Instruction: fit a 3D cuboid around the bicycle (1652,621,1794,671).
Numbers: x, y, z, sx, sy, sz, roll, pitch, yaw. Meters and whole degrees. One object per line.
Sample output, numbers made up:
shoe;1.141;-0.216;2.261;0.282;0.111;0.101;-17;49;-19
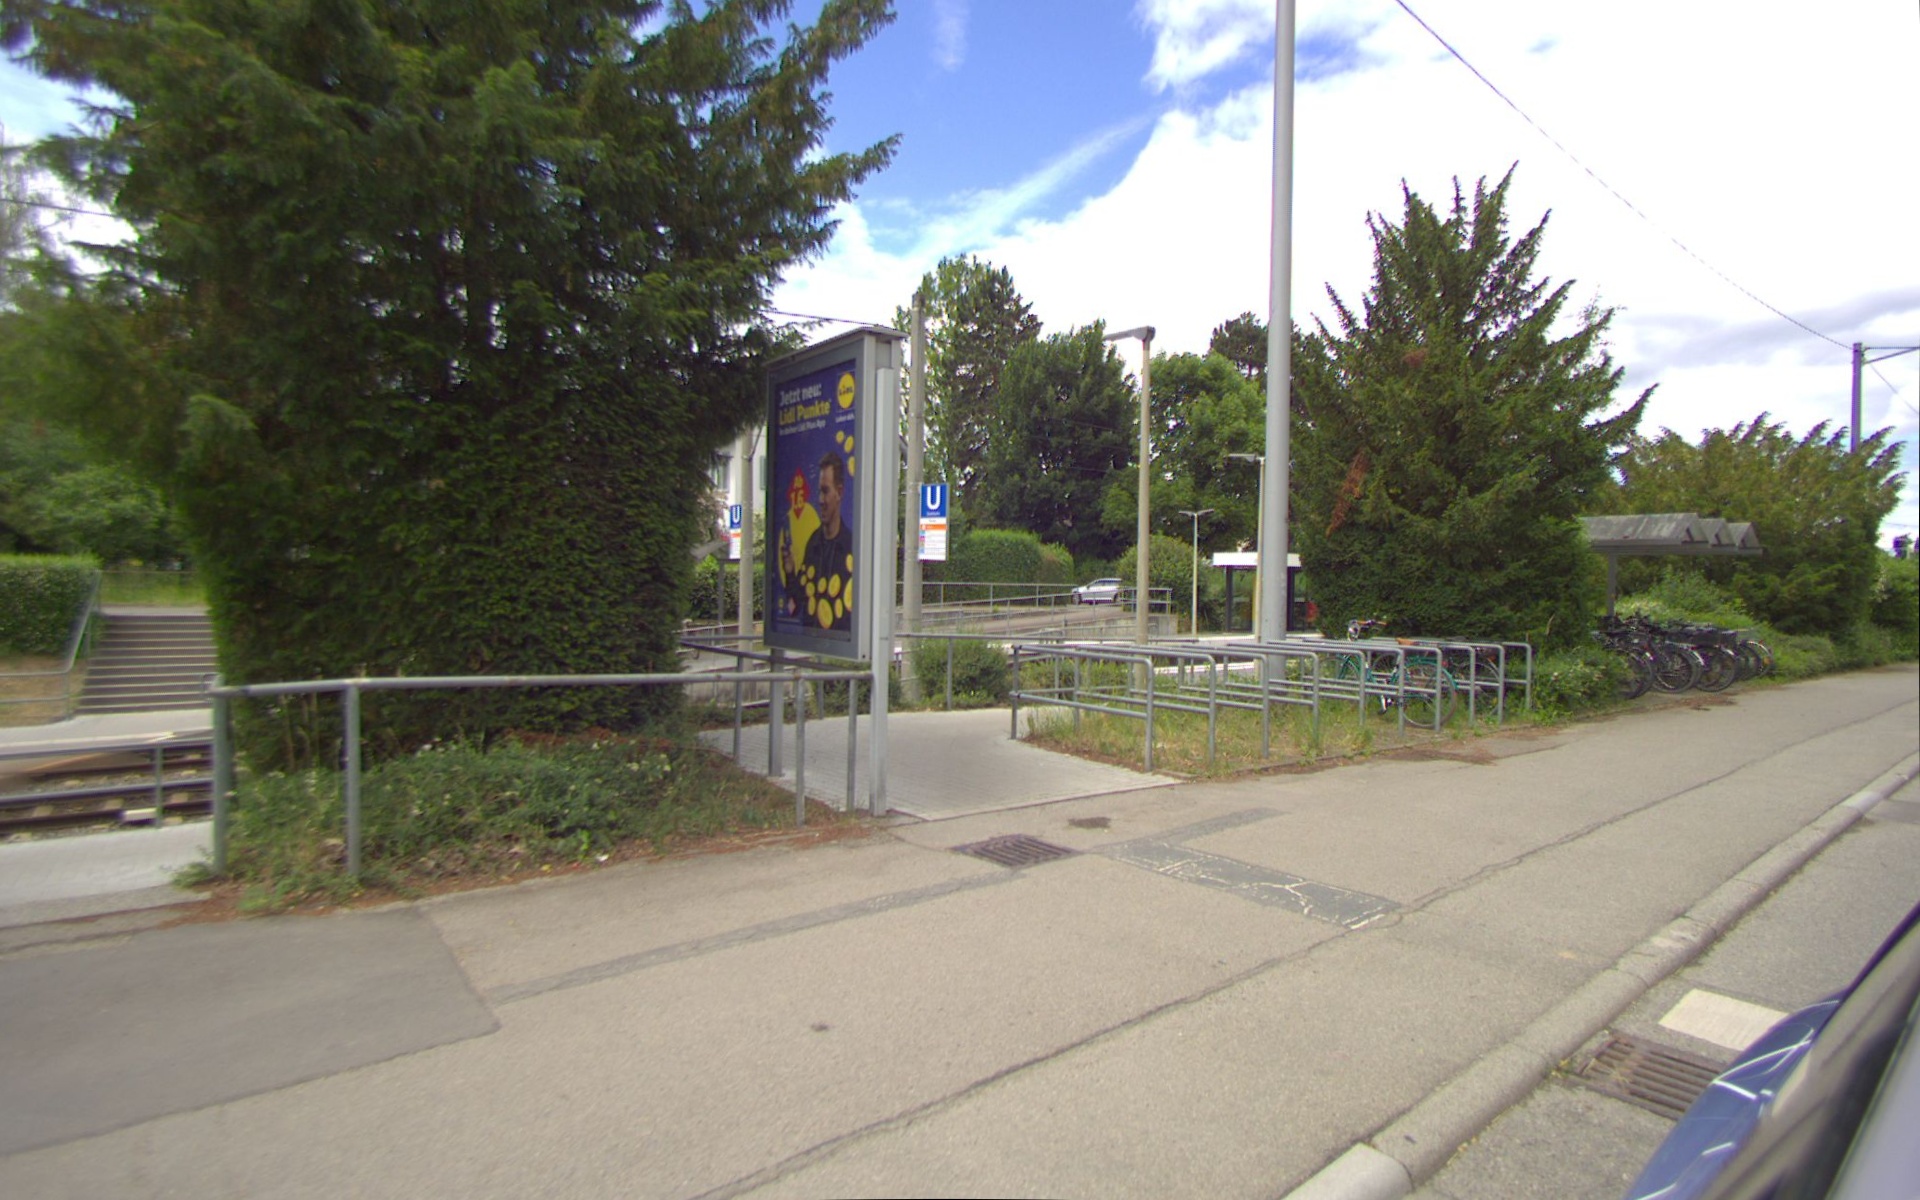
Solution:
bicycle;14.213;0.841;18.917;0.443;0.837;2.083;0;0;-34

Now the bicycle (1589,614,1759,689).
bicycle;11.480;0.794;16.350;0.443;1.060;2.204;0;1;-42

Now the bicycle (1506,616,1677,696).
bicycle;9.228;0.787;14.880;0.443;1.060;2.090;0;0;-43

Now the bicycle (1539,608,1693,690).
bicycle;9.944;0.707;15.450;0.441;1.060;2.100;0;2;-20

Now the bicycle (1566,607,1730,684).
bicycle;11.592;0.739;17.135;0.443;1.060;2.205;0;4;-42

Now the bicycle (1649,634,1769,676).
bicycle;13.022;0.948;17.627;1.674;0.647;0.327;0;0;39

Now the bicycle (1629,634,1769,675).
bicycle;13.083;0.945;17.965;1.978;0.647;0.327;0;0;39

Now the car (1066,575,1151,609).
car;7.811;-0.395;53.327;3.979;1.650;1.972;-2;-2;39

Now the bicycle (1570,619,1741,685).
bicycle;11.038;0.796;16.145;0.444;0.950;2.202;0;0;-43

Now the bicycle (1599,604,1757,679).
bicycle;12.363;0.677;17.509;0.443;1.164;2.208;0;1;-35

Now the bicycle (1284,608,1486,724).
bicycle;4.734;0.687;11.428;0.537;1.094;2.094;0;2;-38

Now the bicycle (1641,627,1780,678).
bicycle;13.725;0.943;18.560;0.443;0.837;1.993;0;0;-40

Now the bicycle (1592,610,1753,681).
bicycle;12.060;0.737;17.218;0.443;1.060;2.208;0;2;-35

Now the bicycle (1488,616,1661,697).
bicycle;8.786;0.774;14.558;0.443;1.060;2.090;0;0;-43

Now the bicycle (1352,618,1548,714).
bicycle;5.857;0.754;12.237;0.549;1.061;2.093;0;-1;-38

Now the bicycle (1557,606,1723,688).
bicycle;10.608;0.701;15.861;0.521;1.165;2.091;0;1;-43
